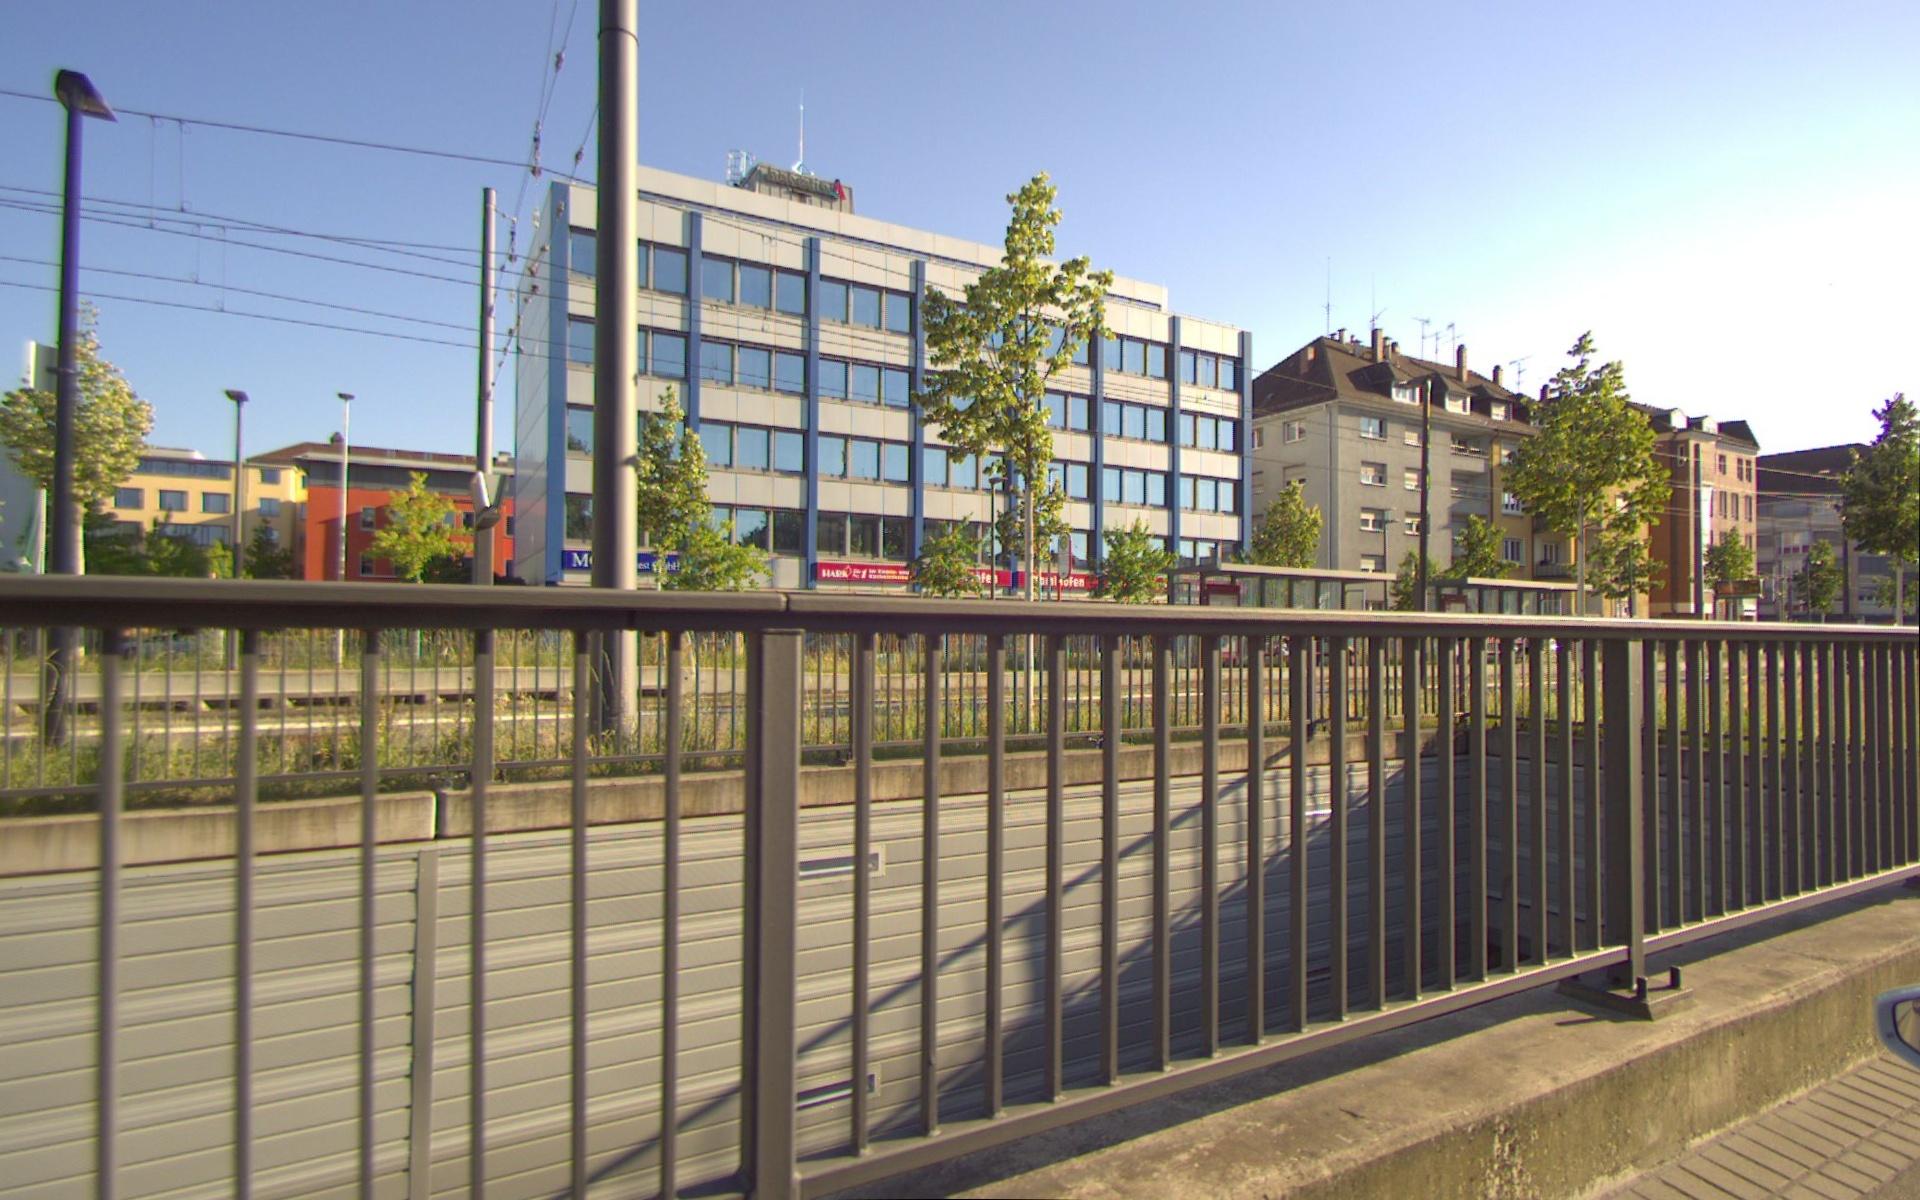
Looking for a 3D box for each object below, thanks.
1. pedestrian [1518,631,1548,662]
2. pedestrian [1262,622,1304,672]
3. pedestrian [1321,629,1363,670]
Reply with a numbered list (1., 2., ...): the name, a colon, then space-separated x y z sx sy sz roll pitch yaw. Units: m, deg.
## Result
1. pedestrian: 20.027 1.629 35.116 0.785 1.061 0.624 1 -2 -30
2. pedestrian: 9.315 1.354 28.996 0.794 1.429 0.834 1 -2 -30
3. pedestrian: 11.514 1.489 30.266 0.755 1.213 0.929 1 -2 -30
